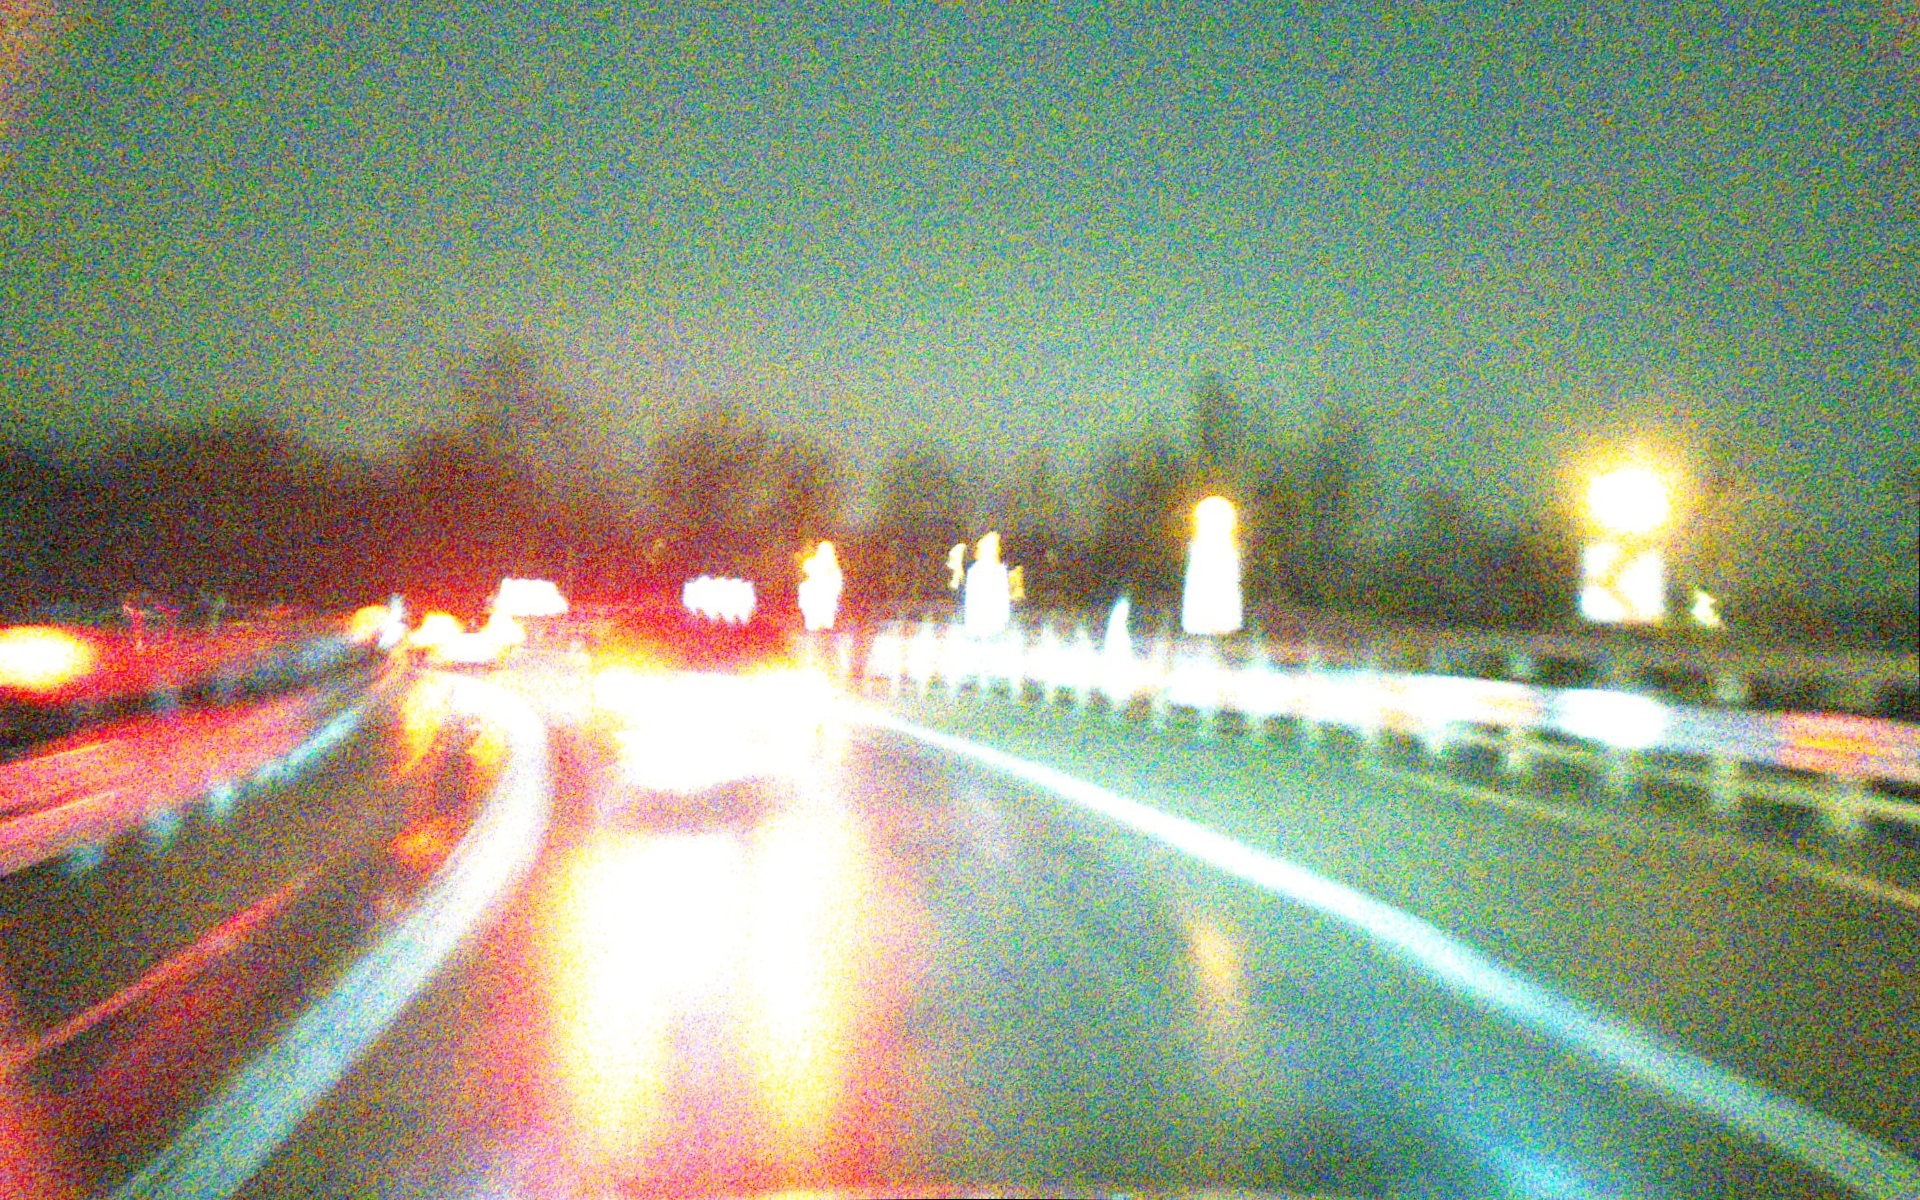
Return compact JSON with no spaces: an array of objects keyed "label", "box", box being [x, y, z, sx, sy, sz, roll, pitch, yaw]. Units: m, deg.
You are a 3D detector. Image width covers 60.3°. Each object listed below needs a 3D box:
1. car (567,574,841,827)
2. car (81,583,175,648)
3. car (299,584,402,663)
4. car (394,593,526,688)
[{"label":"car","box":[-2.111,0.662,13.156,1.827,1.676,4.057,0,0,-12]},{"label":"car","box":[-28.188,0.505,55.980,1.884,2.033,3.987,3,-1,-40]},{"label":"car","box":[-16.989,0.635,46.012,1.877,2.076,4.000,1,-1,-32]},{"label":"car","box":[-10.168,0.782,33.450,1.873,1.750,4.010,1,0,-27]}]
